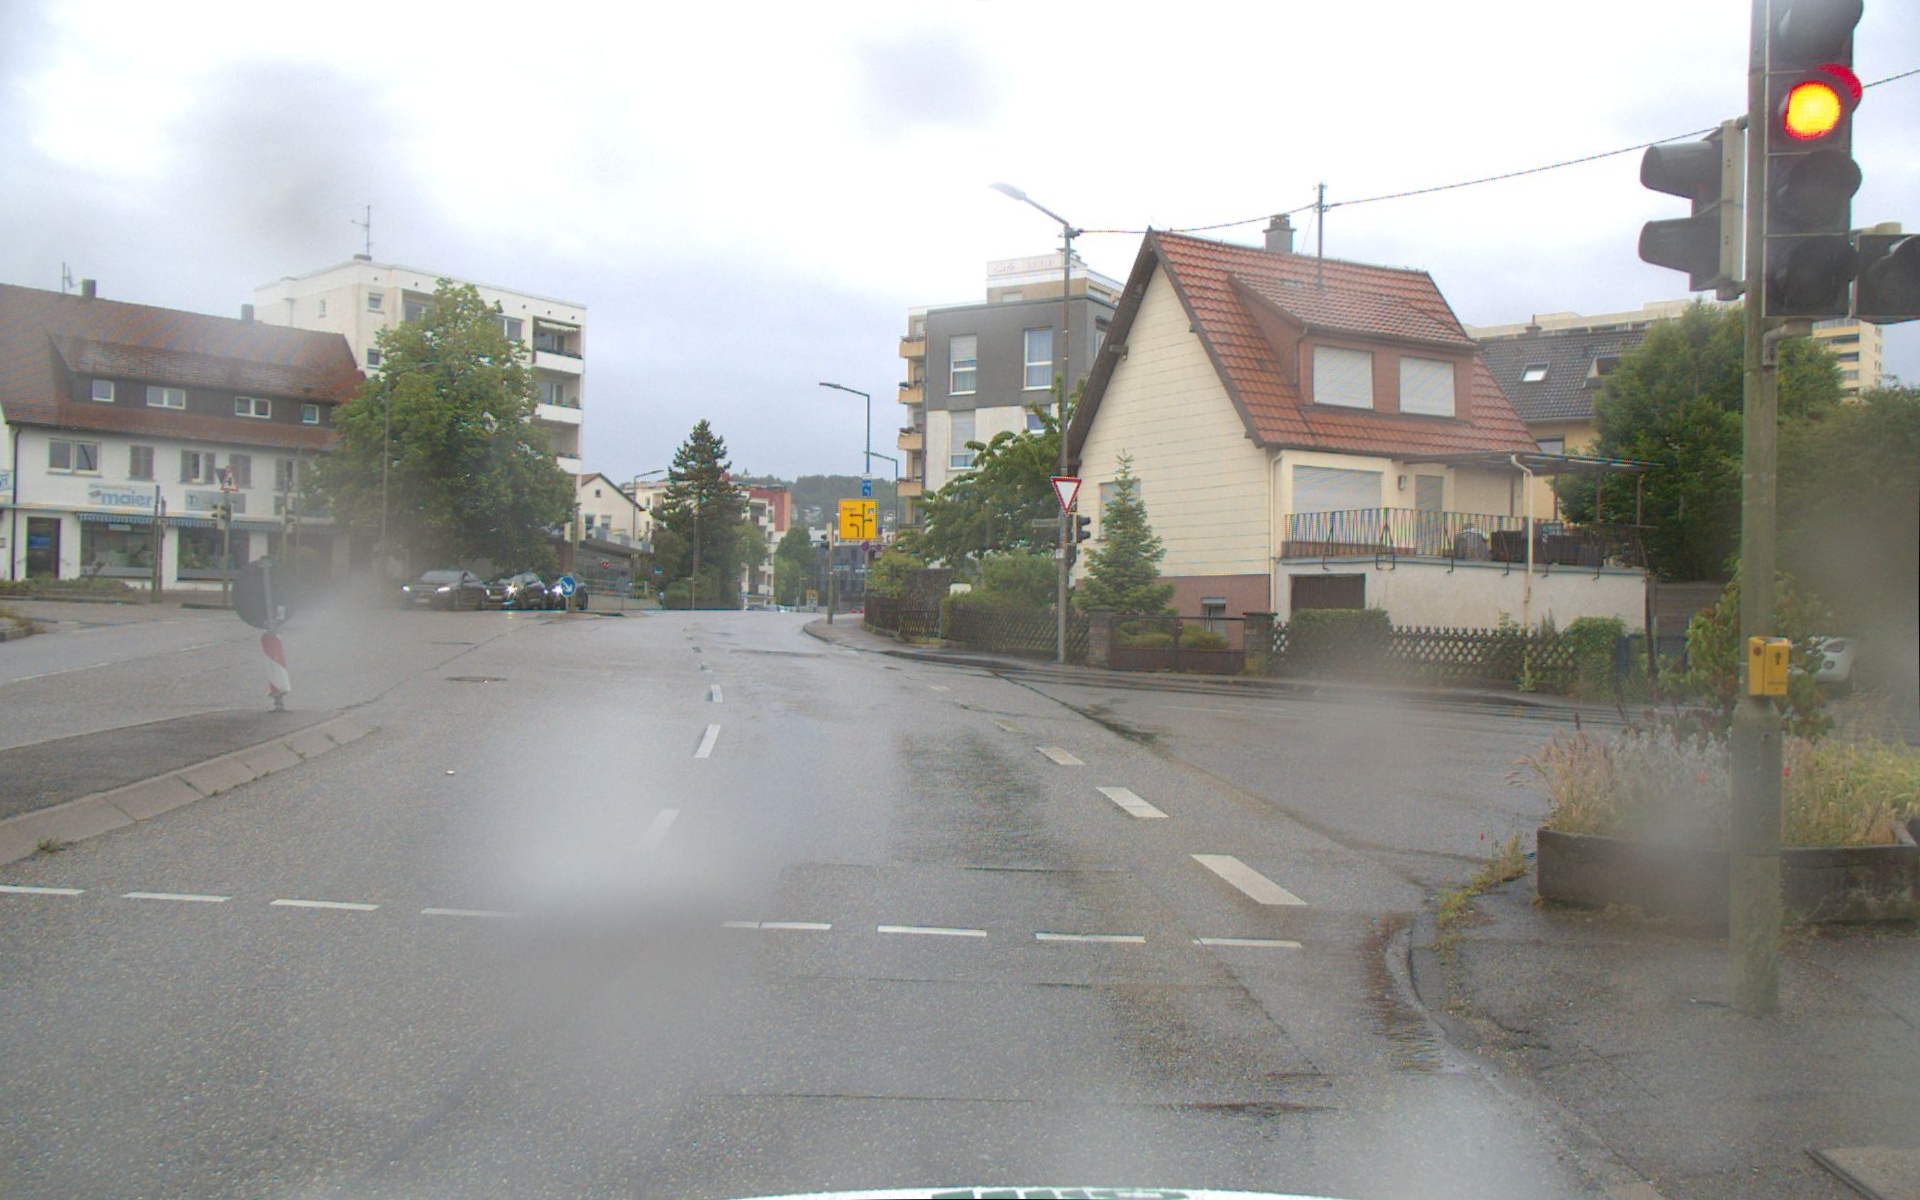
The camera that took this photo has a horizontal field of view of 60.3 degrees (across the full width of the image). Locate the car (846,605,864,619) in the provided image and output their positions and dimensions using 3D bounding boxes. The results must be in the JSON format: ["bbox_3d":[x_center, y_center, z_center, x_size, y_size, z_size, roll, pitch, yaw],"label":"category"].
[{"bbox_3d":[-12.258,1.388,193.039,1.776,1.512,4.189,0,1,0],"label":"car"}]

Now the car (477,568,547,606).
[{"bbox_3d":[-17.667,-0.520,65.407,1.680,1.411,4.020,1,1,-1],"label":"car"}]

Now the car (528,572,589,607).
[{"bbox_3d":[-17.304,-0.463,71.452,1.742,1.445,3.830,1,1,-1],"label":"car"}]

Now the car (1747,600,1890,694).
[{"bbox_3d":[15.599,0.796,29.959,1.710,1.541,3.985,2,1,36],"label":"car"}]

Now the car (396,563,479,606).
[{"bbox_3d":[-18.285,-0.546,58.054,1.742,1.445,3.830,1,1,-1],"label":"car"}]

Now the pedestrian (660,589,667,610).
[{"bbox_3d":[-24.235,-0.076,135.171,0.486,1.687,0.434,1,0,5],"label":"pedestrian"}]
